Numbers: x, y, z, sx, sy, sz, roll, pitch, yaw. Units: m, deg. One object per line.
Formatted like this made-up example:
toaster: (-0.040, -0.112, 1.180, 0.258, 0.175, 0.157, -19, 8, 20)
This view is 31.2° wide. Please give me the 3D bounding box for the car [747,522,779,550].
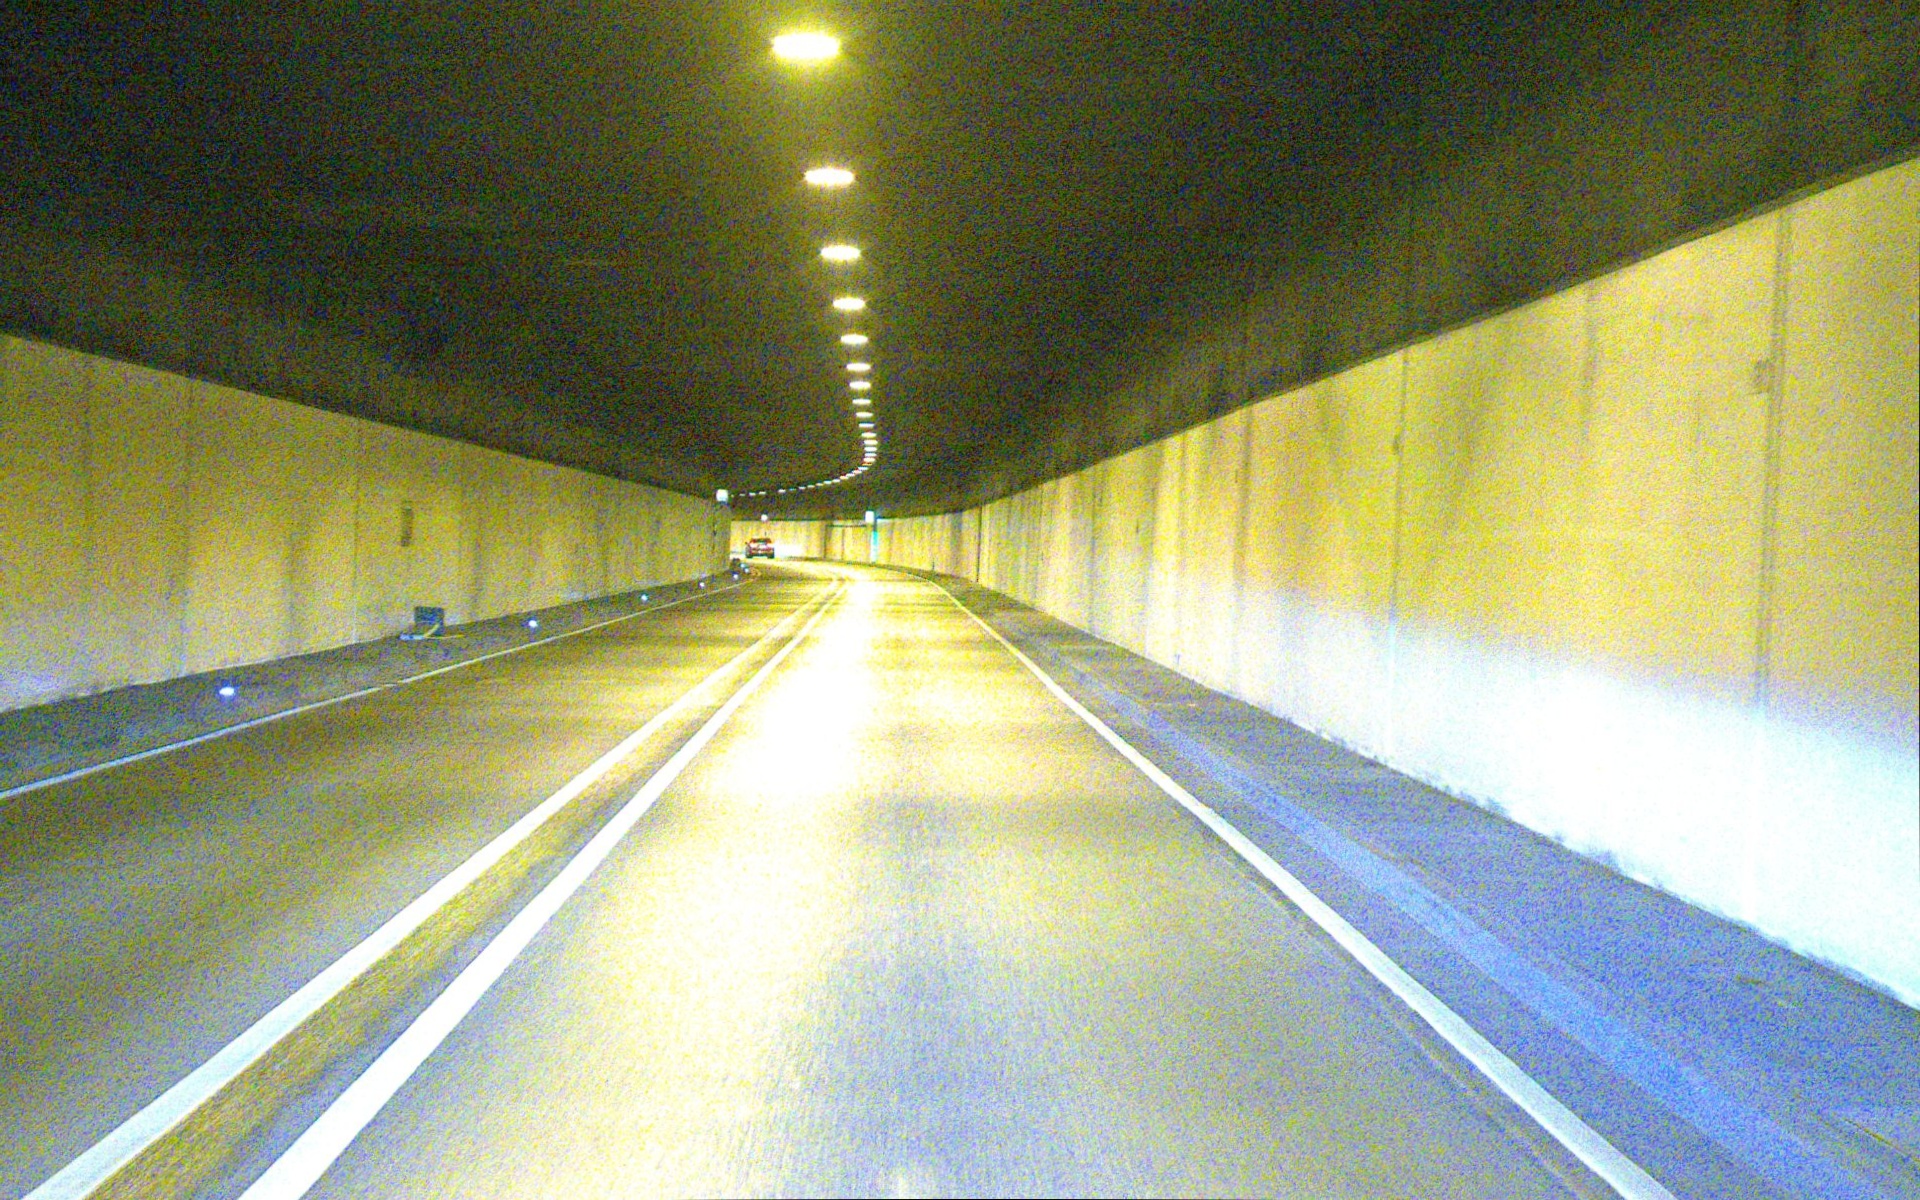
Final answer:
car: (-14.296, -4.623, 249.247, 1.966, 1.932, 4.613, 1, 0, -7)
